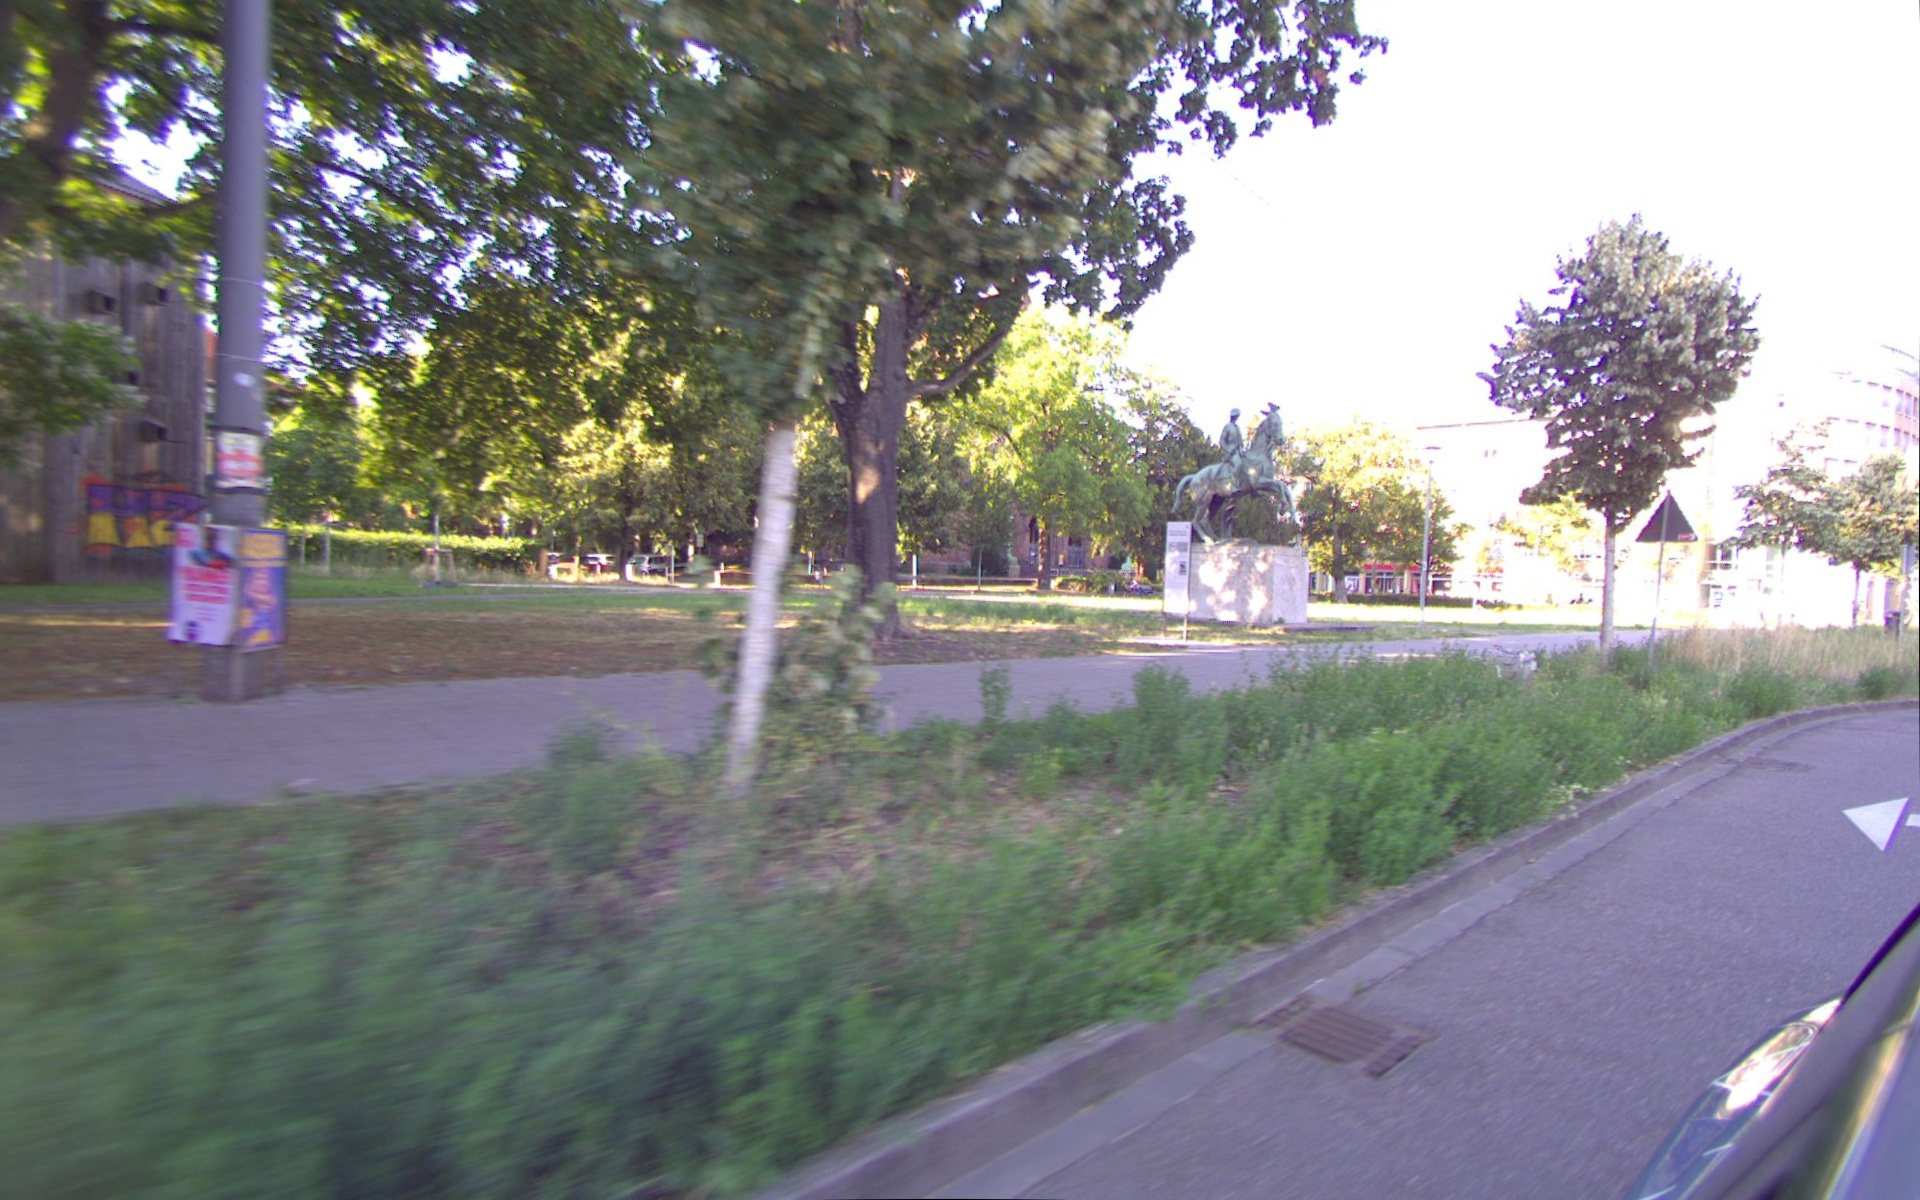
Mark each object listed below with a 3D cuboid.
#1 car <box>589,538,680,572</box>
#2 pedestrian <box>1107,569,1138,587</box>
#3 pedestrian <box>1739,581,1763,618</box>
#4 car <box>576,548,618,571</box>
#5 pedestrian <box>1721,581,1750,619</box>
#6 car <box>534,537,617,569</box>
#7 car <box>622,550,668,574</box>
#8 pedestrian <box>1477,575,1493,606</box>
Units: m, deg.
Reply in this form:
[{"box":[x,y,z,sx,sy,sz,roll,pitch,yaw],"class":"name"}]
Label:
[{"box":[-18.512,-2.558,57.740,1.992,1.739,4.570,4,3,40],"class":"car"},{"box":[9.811,-1.349,61.163,1.259,1.006,1.385,1,2,-32],"class":"pedestrian"},{"box":[37.242,-0.027,47.636,0.767,1.709,0.599,1,3,-39],"class":"pedestrian"},{"box":[-26.015,-2.885,72.466,1.599,1.528,4.156,1,2,-38],"class":"car"},{"box":[36.152,-0.011,47.174,0.899,1.669,0.741,1,4,-39],"class":"pedestrian"},{"box":[-22.339,-2.729,58.810,4.089,1.650,1.868,0,3,-44],"class":"car"},{"box":[-21.332,-2.571,68.489,1.568,1.528,4.156,1,2,-38],"class":"car"},{"box":[30.536,-0.548,58.841,0.633,1.760,0.594,2,1,14],"class":"pedestrian"}]
